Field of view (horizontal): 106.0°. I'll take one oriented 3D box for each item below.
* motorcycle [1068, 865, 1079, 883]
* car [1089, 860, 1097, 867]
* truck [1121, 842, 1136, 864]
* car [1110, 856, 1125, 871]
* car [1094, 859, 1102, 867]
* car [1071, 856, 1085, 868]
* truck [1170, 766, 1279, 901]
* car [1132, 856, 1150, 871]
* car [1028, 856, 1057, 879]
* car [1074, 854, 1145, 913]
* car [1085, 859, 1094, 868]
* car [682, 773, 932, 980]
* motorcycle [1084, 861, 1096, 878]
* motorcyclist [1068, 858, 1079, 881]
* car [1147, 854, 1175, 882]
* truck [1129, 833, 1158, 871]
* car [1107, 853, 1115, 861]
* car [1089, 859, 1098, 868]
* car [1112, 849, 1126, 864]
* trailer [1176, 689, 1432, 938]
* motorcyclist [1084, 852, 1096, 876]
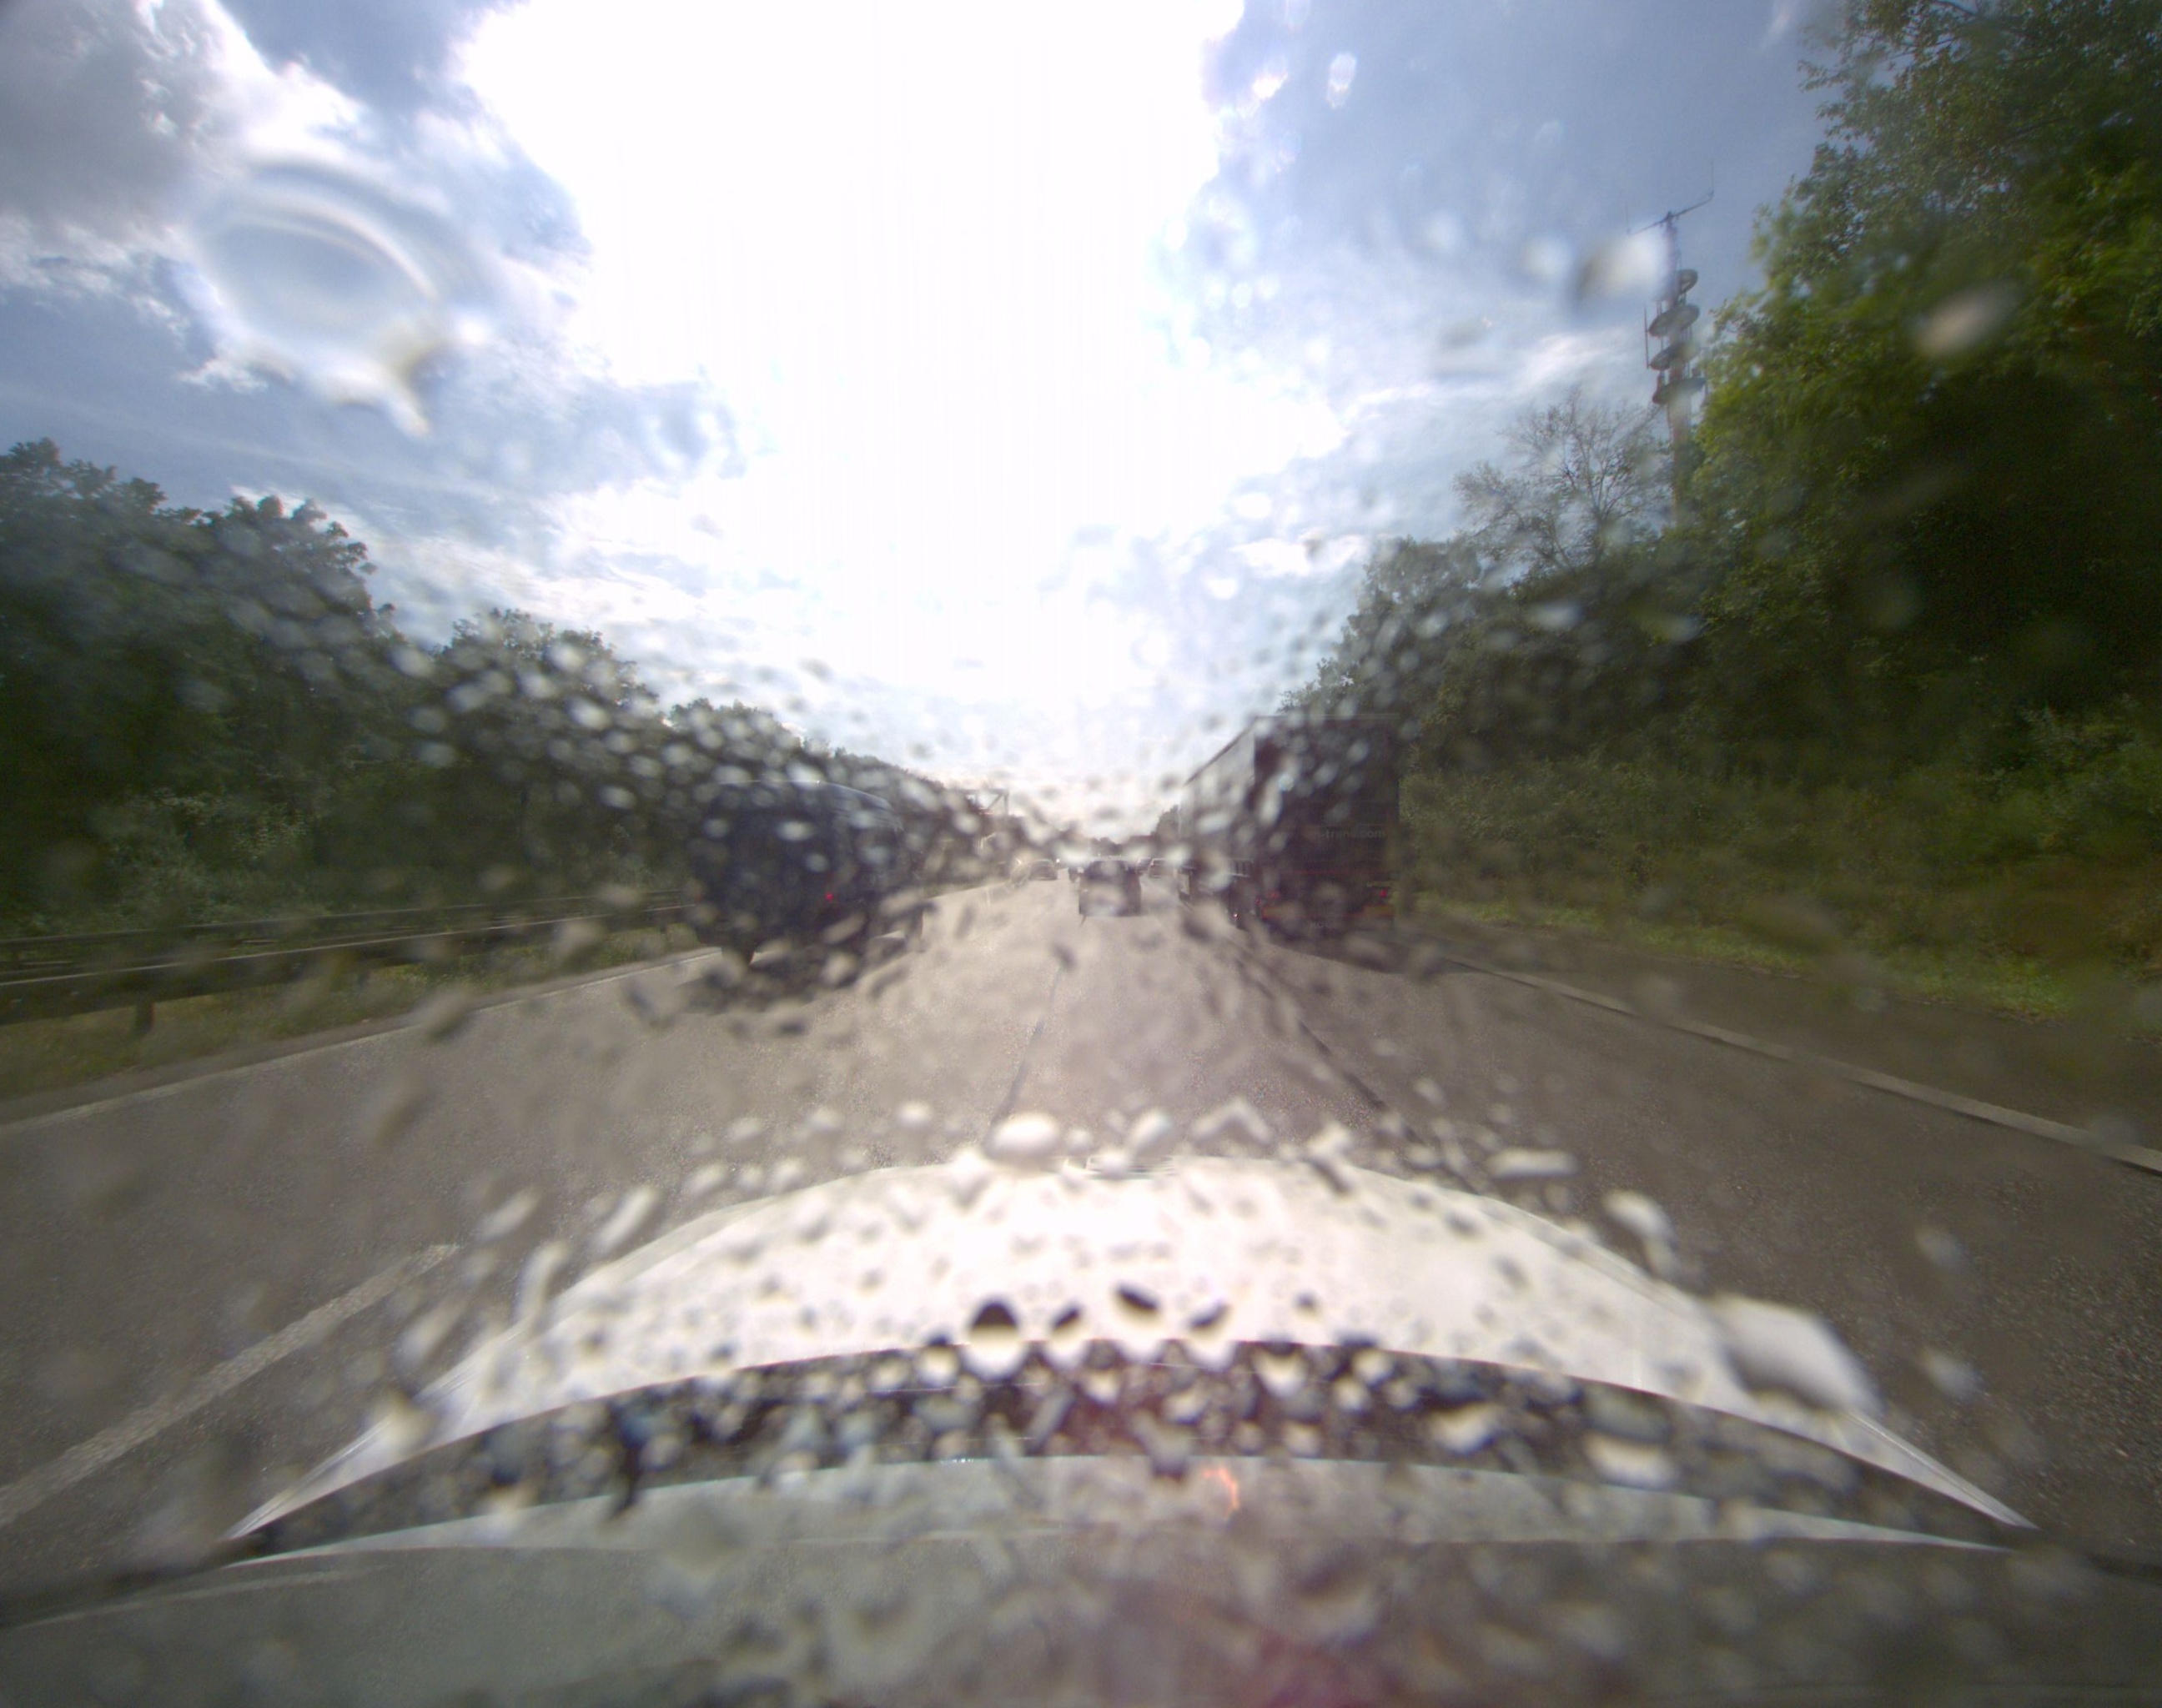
[{"bbox_3d":[-0.483,1.280,51.898,0.674,1.087,1.980,0,0,-1],"label":"motorcycle"},{"bbox_3d":[2.513,2.020,175.876,1.669,1.490,3.437,-1,0,1],"label":"car"},{"bbox_3d":[10.512,-0.124,181.084,2.871,4.688,12.662,-1,-1,2],"label":"truck"},{"bbox_3d":[4.863,1.263,108.870,1.986,2.014,4.001,-1,-1,2],"label":"car"},{"bbox_3d":[4.469,2.390,213.250,1.986,2.014,4.001,-1,-1,1],"label":"car"},{"bbox_3d":[-0.380,1.189,119.866,1.886,1.628,4.196,-1,0,1],"label":"car"},{"bbox_3d":[4.937,-0.621,29.247,3.040,4.325,5.888,-1,-1,2],"label":"truck"},{"bbox_3d":[6.040,0.920,81.930,1.669,1.490,3.437,-1,0,1],"label":"car"},{"bbox_3d":[-2.756,0.933,59.205,1.752,1.595,4.331,-1,0,1],"label":"car"},{"bbox_3d":[0.819,0.808,24.159,1.908,1.565,4.315,-1,0,1],"label":"car"},{"bbox_3d":[1.577,1.775,149.945,1.669,1.597,3.437,-1,0,1],"label":"car"},{"bbox_3d":[-4.076,0.308,13.417,2.008,2.648,5.778,-1,0,1],"label":"car"},{"bbox_3d":[0.673,1.134,60.517,0.817,1.263,2.116,0,0,-2],"label":"motorcycle"},{"bbox_3d":[-0.485,0.953,51.869,0.669,1.442,1.019,0,-1,-2],"label":"motorcyclist"},{"bbox_3d":[6.005,1.042,61.370,1.842,2.014,4.089,-1,-1,2],"label":"car"},{"bbox_3d":[7.631,-0.215,101.103,3.190,4.404,9.436,-1,0,2],"label":"truck"},{"bbox_3d":[6.353,0.612,171.100,1.626,1.490,3.437,-1,0,1],"label":"car"},{"bbox_3d":[3.074,2.318,196.794,1.986,2.014,4.001,-1,-1,1],"label":"car"},{"bbox_3d":[5.133,0.346,110.491,1.669,1.936,3.774,-1,0,1],"label":"car"},{"bbox_3d":[4.728,-0.666,21.287,3.077,4.312,14.108,-1,0,1],"label":"trailer"},{"bbox_3d":[0.666,0.745,60.558,0.819,1.761,1.389,0,-1,-2],"label":"motorcyclist"}]
